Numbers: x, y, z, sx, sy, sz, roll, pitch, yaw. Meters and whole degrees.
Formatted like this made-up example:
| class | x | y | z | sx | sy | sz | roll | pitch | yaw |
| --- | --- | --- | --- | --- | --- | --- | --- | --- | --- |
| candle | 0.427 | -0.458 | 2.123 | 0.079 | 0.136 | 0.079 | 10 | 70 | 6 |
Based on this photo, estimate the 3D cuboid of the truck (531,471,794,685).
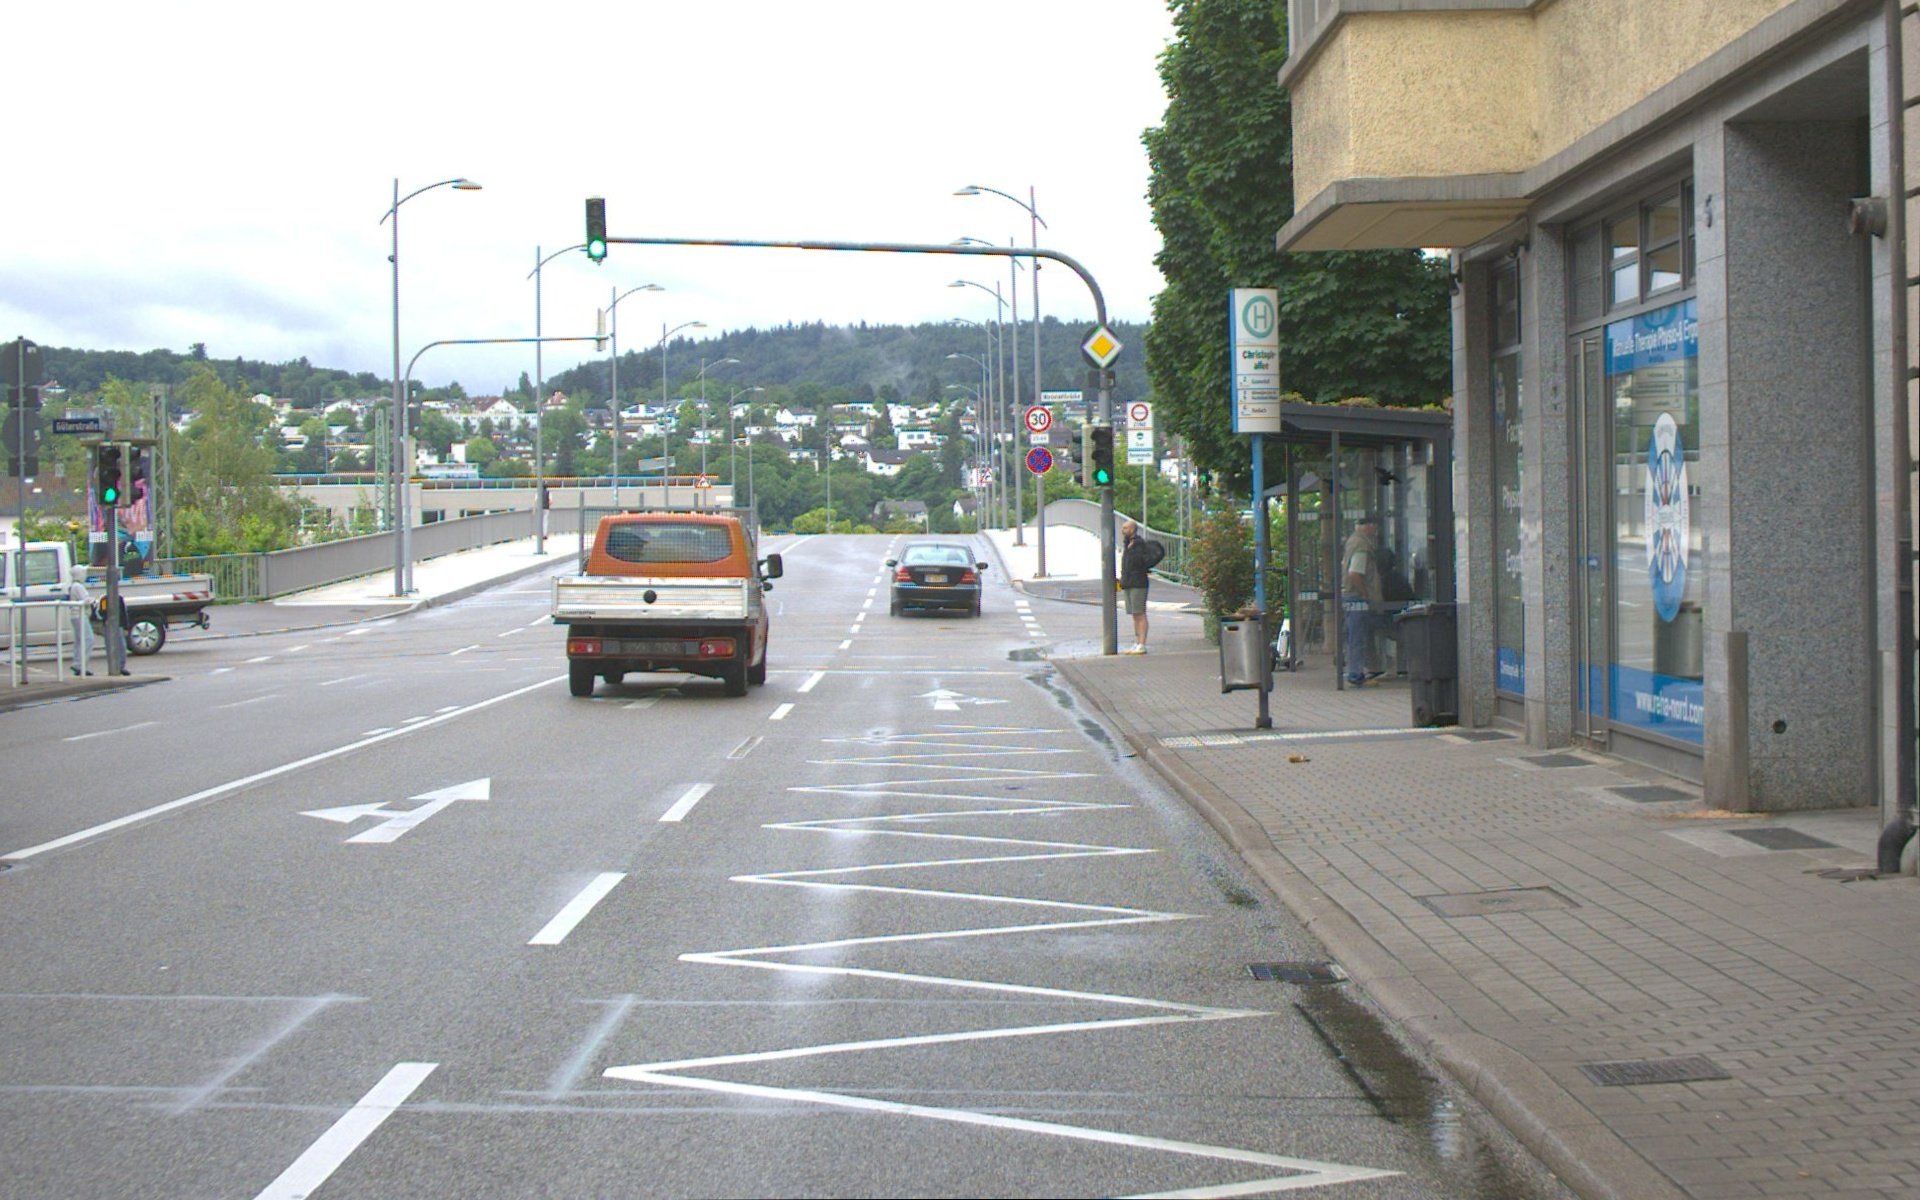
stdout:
| class | x | y | z | sx | sy | sz | roll | pitch | yaw |
| --- | --- | --- | --- | --- | --- | --- | --- | --- | --- |
| truck | -3.134 | -0.241 | 37.404 | 2.400 | 2.122 | 5.315 | -1 | 0 | 0 |

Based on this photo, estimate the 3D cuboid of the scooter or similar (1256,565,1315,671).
| class | x | y | z | sx | sy | sz | roll | pitch | yaw |
| --- | --- | --- | --- | --- | --- | --- | --- | --- | --- |
| scooter or similar | 3.683 | 0.198 | 38.974 | 0.511 | 1.168 | 1.549 | -1 | 0 | 0 |

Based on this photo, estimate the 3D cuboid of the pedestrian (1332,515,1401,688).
| class | x | y | z | sx | sy | sz | roll | pitch | yaw |
| --- | --- | --- | --- | --- | --- | --- | --- | --- | --- |
| pedestrian | 4.025 | 0.012 | 34.100 | 0.619 | 1.693 | 0.656 | -1 | 0 | 4 |

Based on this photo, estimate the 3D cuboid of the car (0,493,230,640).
| class | x | y | z | sx | sy | sz | roll | pitch | yaw |
| --- | --- | --- | --- | --- | --- | --- | --- | --- | --- |
| car | -14.744 | -0.555 | 56.891 | 4.991 | 2.342 | 2.001 | -1 | 0 | -18 |

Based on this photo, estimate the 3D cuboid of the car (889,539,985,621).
| class | x | y | z | sx | sy | sz | roll | pitch | yaw |
| --- | --- | --- | --- | --- | --- | --- | --- | --- | --- |
| car | -0.427 | -0.379 | 65.323 | 1.754 | 1.474 | 4.000 | -1 | 0 | 0 |

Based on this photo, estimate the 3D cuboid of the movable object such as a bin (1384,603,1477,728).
| class | x | y | z | sx | sy | sz | roll | pitch | yaw |
| --- | --- | --- | --- | --- | --- | --- | --- | --- | --- |
| movable object such as a bin | 3.580 | 0.491 | 26.195 | 0.600 | 0.923 | 0.704 | -1 | 0 | 0 |

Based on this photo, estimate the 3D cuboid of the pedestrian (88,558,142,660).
| class | x | y | z | sx | sy | sz | roll | pitch | yaw |
| --- | --- | --- | --- | --- | --- | --- | --- | --- | --- |
| pedestrian | -11.657 | 0.125 | 47.420 | 0.544 | 1.383 | 0.649 | -1 | 0 | 1 |

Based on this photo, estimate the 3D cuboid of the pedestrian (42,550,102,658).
| class | x | y | z | sx | sy | sz | roll | pitch | yaw |
| --- | --- | --- | --- | --- | --- | --- | --- | --- | --- |
| pedestrian | -12.142 | 0.049 | 47.037 | 0.642 | 1.453 | 0.661 | -1 | 0 | -2 |

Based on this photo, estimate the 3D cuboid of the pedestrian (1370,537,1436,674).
| class | x | y | z | sx | sy | sz | roll | pitch | yaw |
| --- | --- | --- | --- | --- | --- | --- | --- | --- | --- |
| pedestrian | 4.556 | 0.052 | 35.360 | 0.563 | 1.392 | 0.514 | -1 | 0 | -3 |

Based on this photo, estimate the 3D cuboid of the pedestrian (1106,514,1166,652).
| class | x | y | z | sx | sy | sz | roll | pitch | yaw |
| --- | --- | --- | --- | --- | --- | --- | --- | --- | --- |
| pedestrian | 2.368 | -0.232 | 46.372 | 0.733 | 1.835 | 0.631 | -1 | 0 | -2 |

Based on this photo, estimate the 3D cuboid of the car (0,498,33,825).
| class | x | y | z | sx | sy | sz | roll | pitch | yaw |
| --- | --- | --- | --- | --- | --- | --- | --- | --- | --- |
| car | -6.048 | 0.355 | 16.763 | 1.930 | 1.751 | 4.573 | -1 | 0 | -2 |
